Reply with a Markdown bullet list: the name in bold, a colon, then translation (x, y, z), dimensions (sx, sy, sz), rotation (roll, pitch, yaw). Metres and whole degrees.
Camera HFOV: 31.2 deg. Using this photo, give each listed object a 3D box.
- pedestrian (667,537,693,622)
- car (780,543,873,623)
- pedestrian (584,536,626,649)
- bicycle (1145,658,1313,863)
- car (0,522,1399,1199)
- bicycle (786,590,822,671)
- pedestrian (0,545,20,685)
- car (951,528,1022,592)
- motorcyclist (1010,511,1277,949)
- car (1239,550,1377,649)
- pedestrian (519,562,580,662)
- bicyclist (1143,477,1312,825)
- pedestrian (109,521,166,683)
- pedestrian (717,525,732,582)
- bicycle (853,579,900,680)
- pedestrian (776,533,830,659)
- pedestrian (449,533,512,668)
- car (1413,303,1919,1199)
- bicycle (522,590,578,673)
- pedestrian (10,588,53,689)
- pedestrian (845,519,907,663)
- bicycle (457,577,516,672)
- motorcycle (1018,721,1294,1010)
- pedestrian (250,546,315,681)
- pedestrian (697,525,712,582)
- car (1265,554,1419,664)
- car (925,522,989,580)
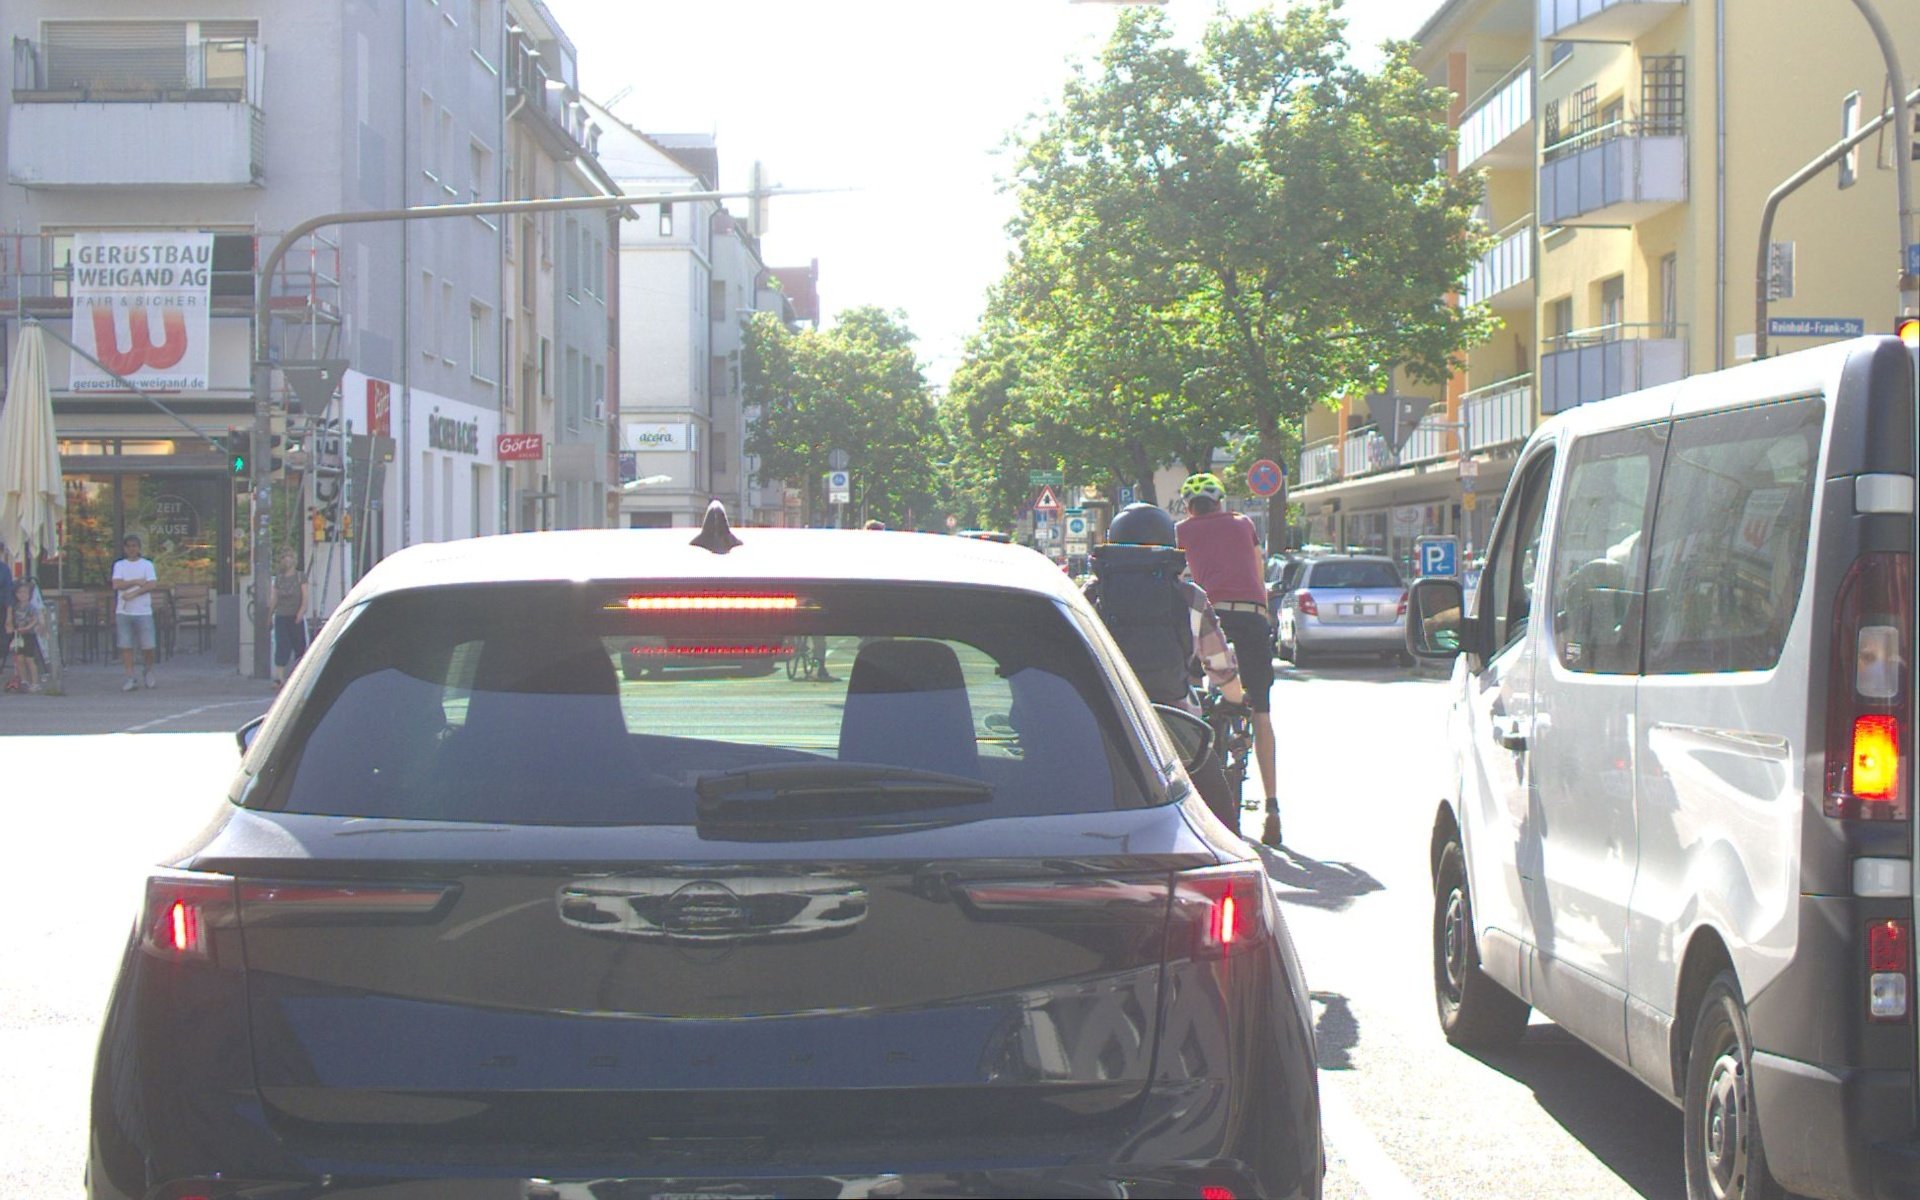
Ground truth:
- **pedestrian**: translation (-5.582, -0.416, 68.575), dimensions (0.488, 1.684, 0.588), rotation (0, 1, -1)
- **car**: translation (-2.921, -0.396, 75.929), dimensions (1.825, 1.722, 4.000), rotation (0, 1, 1)
- **pedestrian**: translation (-5.314, -0.114, 51.478), dimensions (0.570, 1.684, 0.588), rotation (0, 1, -1)
- **bicycle**: translation (1.345, 0.787, 17.549), dimensions (0.577, 0.901, 2.301), rotation (0, 1, -2)
- **car**: translation (-0.415, 0.630, 6.317), dimensions (1.770, 1.525, 4.001), rotation (0, 1, -2)
- **bicycle**: translation (-2.003, 0.375, 44.172), dimensions (0.443, 0.989, 2.069), rotation (0, 1, -2)
- **pedestrian**: translation (-10.607, 0.155, 37.428), dimensions (0.584, 1.516, 0.650), rotation (0, 1, -3)
- **car**: translation (0.714, -1.113, 95.308), dimensions (1.902, 1.722, 4.073), rotation (0, 1, 0)
- **motorcyclist**: translation (0.636, 0.437, 12.350), dimensions (0.864, 1.497, 1.160), rotation (0, 1, -2)
- **car**: translation (5.216, -0.040, 51.930), dimensions (1.634, 1.428, 4.000), rotation (0, 1, -1)
- **pedestrian**: translation (-5.192, 0.144, 43.499), dimensions (0.707, 1.249, 0.802), rotation (0, 1, -2)
- **bicyclist**: translation (1.350, 0.241, 17.564), dimensions (0.689, 1.707, 1.414), rotation (0, 1, -2)
- **pedestrian**: translation (-9.034, 0.015, 37.791), dimensions (0.561, 1.769, 0.584), rotation (0, 1, -9)
- **pedestrian**: translation (-6.839, -1.355, 99.898), dimensions (0.402, 1.669, 0.418), rotation (0, 1, -1)
- **bicycle**: translation (-0.996, 0.333, 40.711), dimensions (0.521, 1.143, 2.170), rotation (0, 1, -2)
- **pedestrian**: translation (-2.006, -0.059, 43.915), dimensions (0.680, 1.600, 0.762), rotation (0, 1, -2)
- **pedestrian**: translation (-6.010, -0.001, 43.135), dimensions (0.707, 1.672, 0.802), rotation (0, 1, -2)
- **car**: translation (2.469, 0.441, 8.481), dimensions (1.993, 1.972, 4.895), rotation (1, 1, 0)
- **bicycle**: translation (-5.195, 0.386, 43.633), dimensions (0.521, 0.989, 2.339), rotation (0, 1, -2)
- **pedestrian**: translation (-10.109, 0.418, 37.434), dimensions (0.355, 1.088, 0.462), rotation (0, 1, -3)
- **pedestrian**: translation (-0.997, -0.111, 40.620), dimensions (0.707, 1.695, 0.802), rotation (0, 1, -2)
- **bicycle**: translation (-5.988, 0.293, 43.538), dimensions (0.521, 1.143, 2.284), rotation (0, 1, -2)
- **motorcycle**: translation (0.652, 0.897, 12.103), dimensions (0.825, 0.842, 1.885), rotation (0, 1, -1)
- **pedestrian**: translation (-7.651, 0.146, 38.830), dimensions (0.617, 1.516, 0.725), rotation (0, 1, -3)
- **pedestrian**: translation (-7.443, -1.358, 100.173), dimensions (0.402, 1.669, 0.418), rotation (0, 1, -1)
- **car**: translation (5.198, 0.097, 47.144), dimensions (1.634, 1.428, 3.957), rotation (0, 1, -1)
- **car**: translation (-0.095, -1.501, 104.718), dimensions (1.902, 1.722, 4.000), rotation (0, 1, 0)
